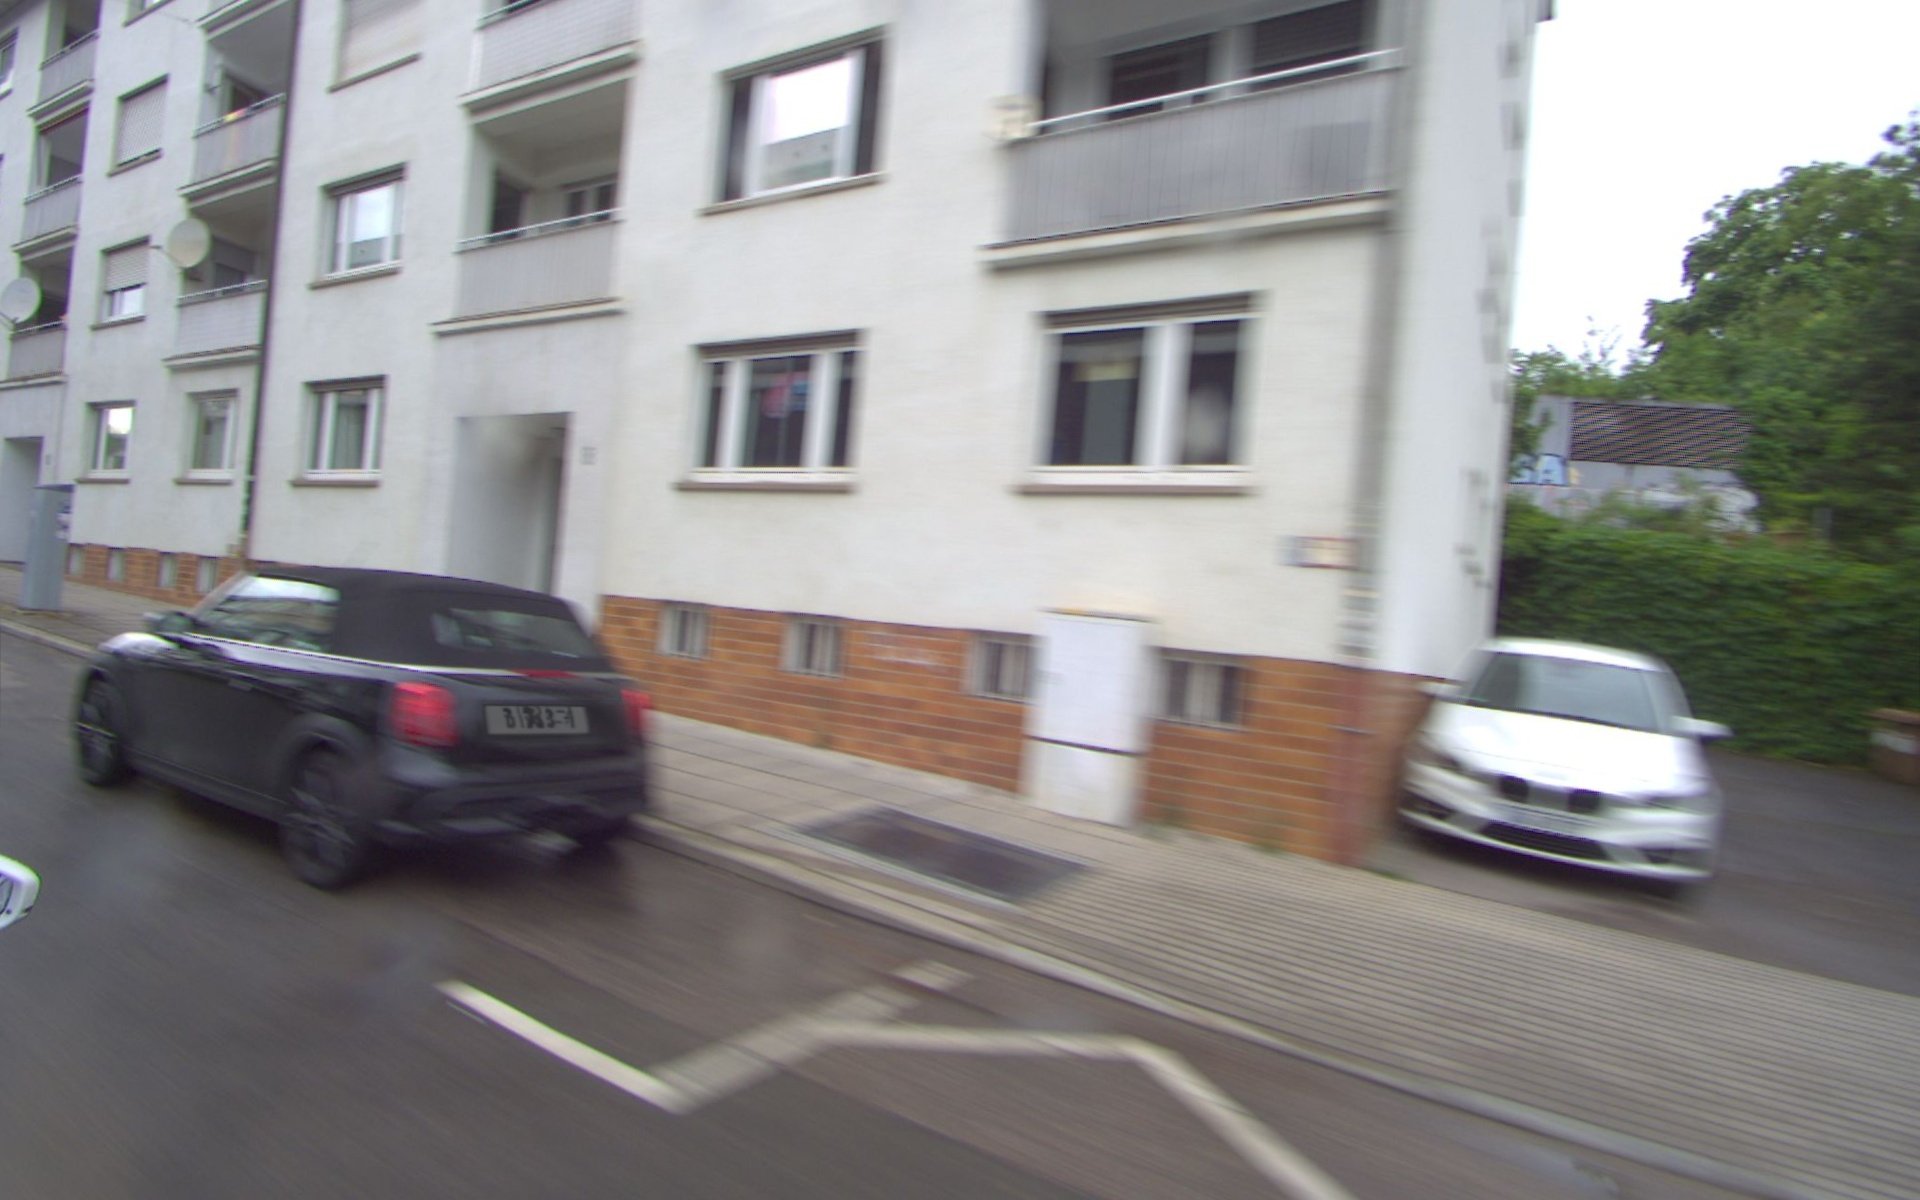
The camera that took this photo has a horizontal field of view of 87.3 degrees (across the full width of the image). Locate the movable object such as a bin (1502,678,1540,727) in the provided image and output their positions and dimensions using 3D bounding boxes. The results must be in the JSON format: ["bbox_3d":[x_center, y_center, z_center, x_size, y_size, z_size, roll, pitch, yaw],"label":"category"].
[{"bbox_3d":[11.675,2.127,20.949,0.383,0.943,0.549,6,2,-1],"label":"movable object such as a bin"}]

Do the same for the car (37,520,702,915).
[{"bbox_3d":[-3.536,0.491,5.897,3.701,1.477,1.676,6,-1,31],"label":"car"}]

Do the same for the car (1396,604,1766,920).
[{"bbox_3d":[4.974,1.036,8.316,1.873,1.735,4.440,5,1,30],"label":"car"}]

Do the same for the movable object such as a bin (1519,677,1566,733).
[{"bbox_3d":[11.711,2.111,20.225,0.450,1.013,0.651,5,2,-1],"label":"movable object such as a bin"}]

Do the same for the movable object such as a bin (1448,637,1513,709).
[{"bbox_3d":[11.539,1.597,22.329,0.882,1.454,0.890,4,2,5],"label":"movable object such as a bin"}]

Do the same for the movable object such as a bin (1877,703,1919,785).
[{"bbox_3d":[12.362,1.875,13.118,0.262,0.996,0.466,4,2,-6],"label":"movable object such as a bin"}]
